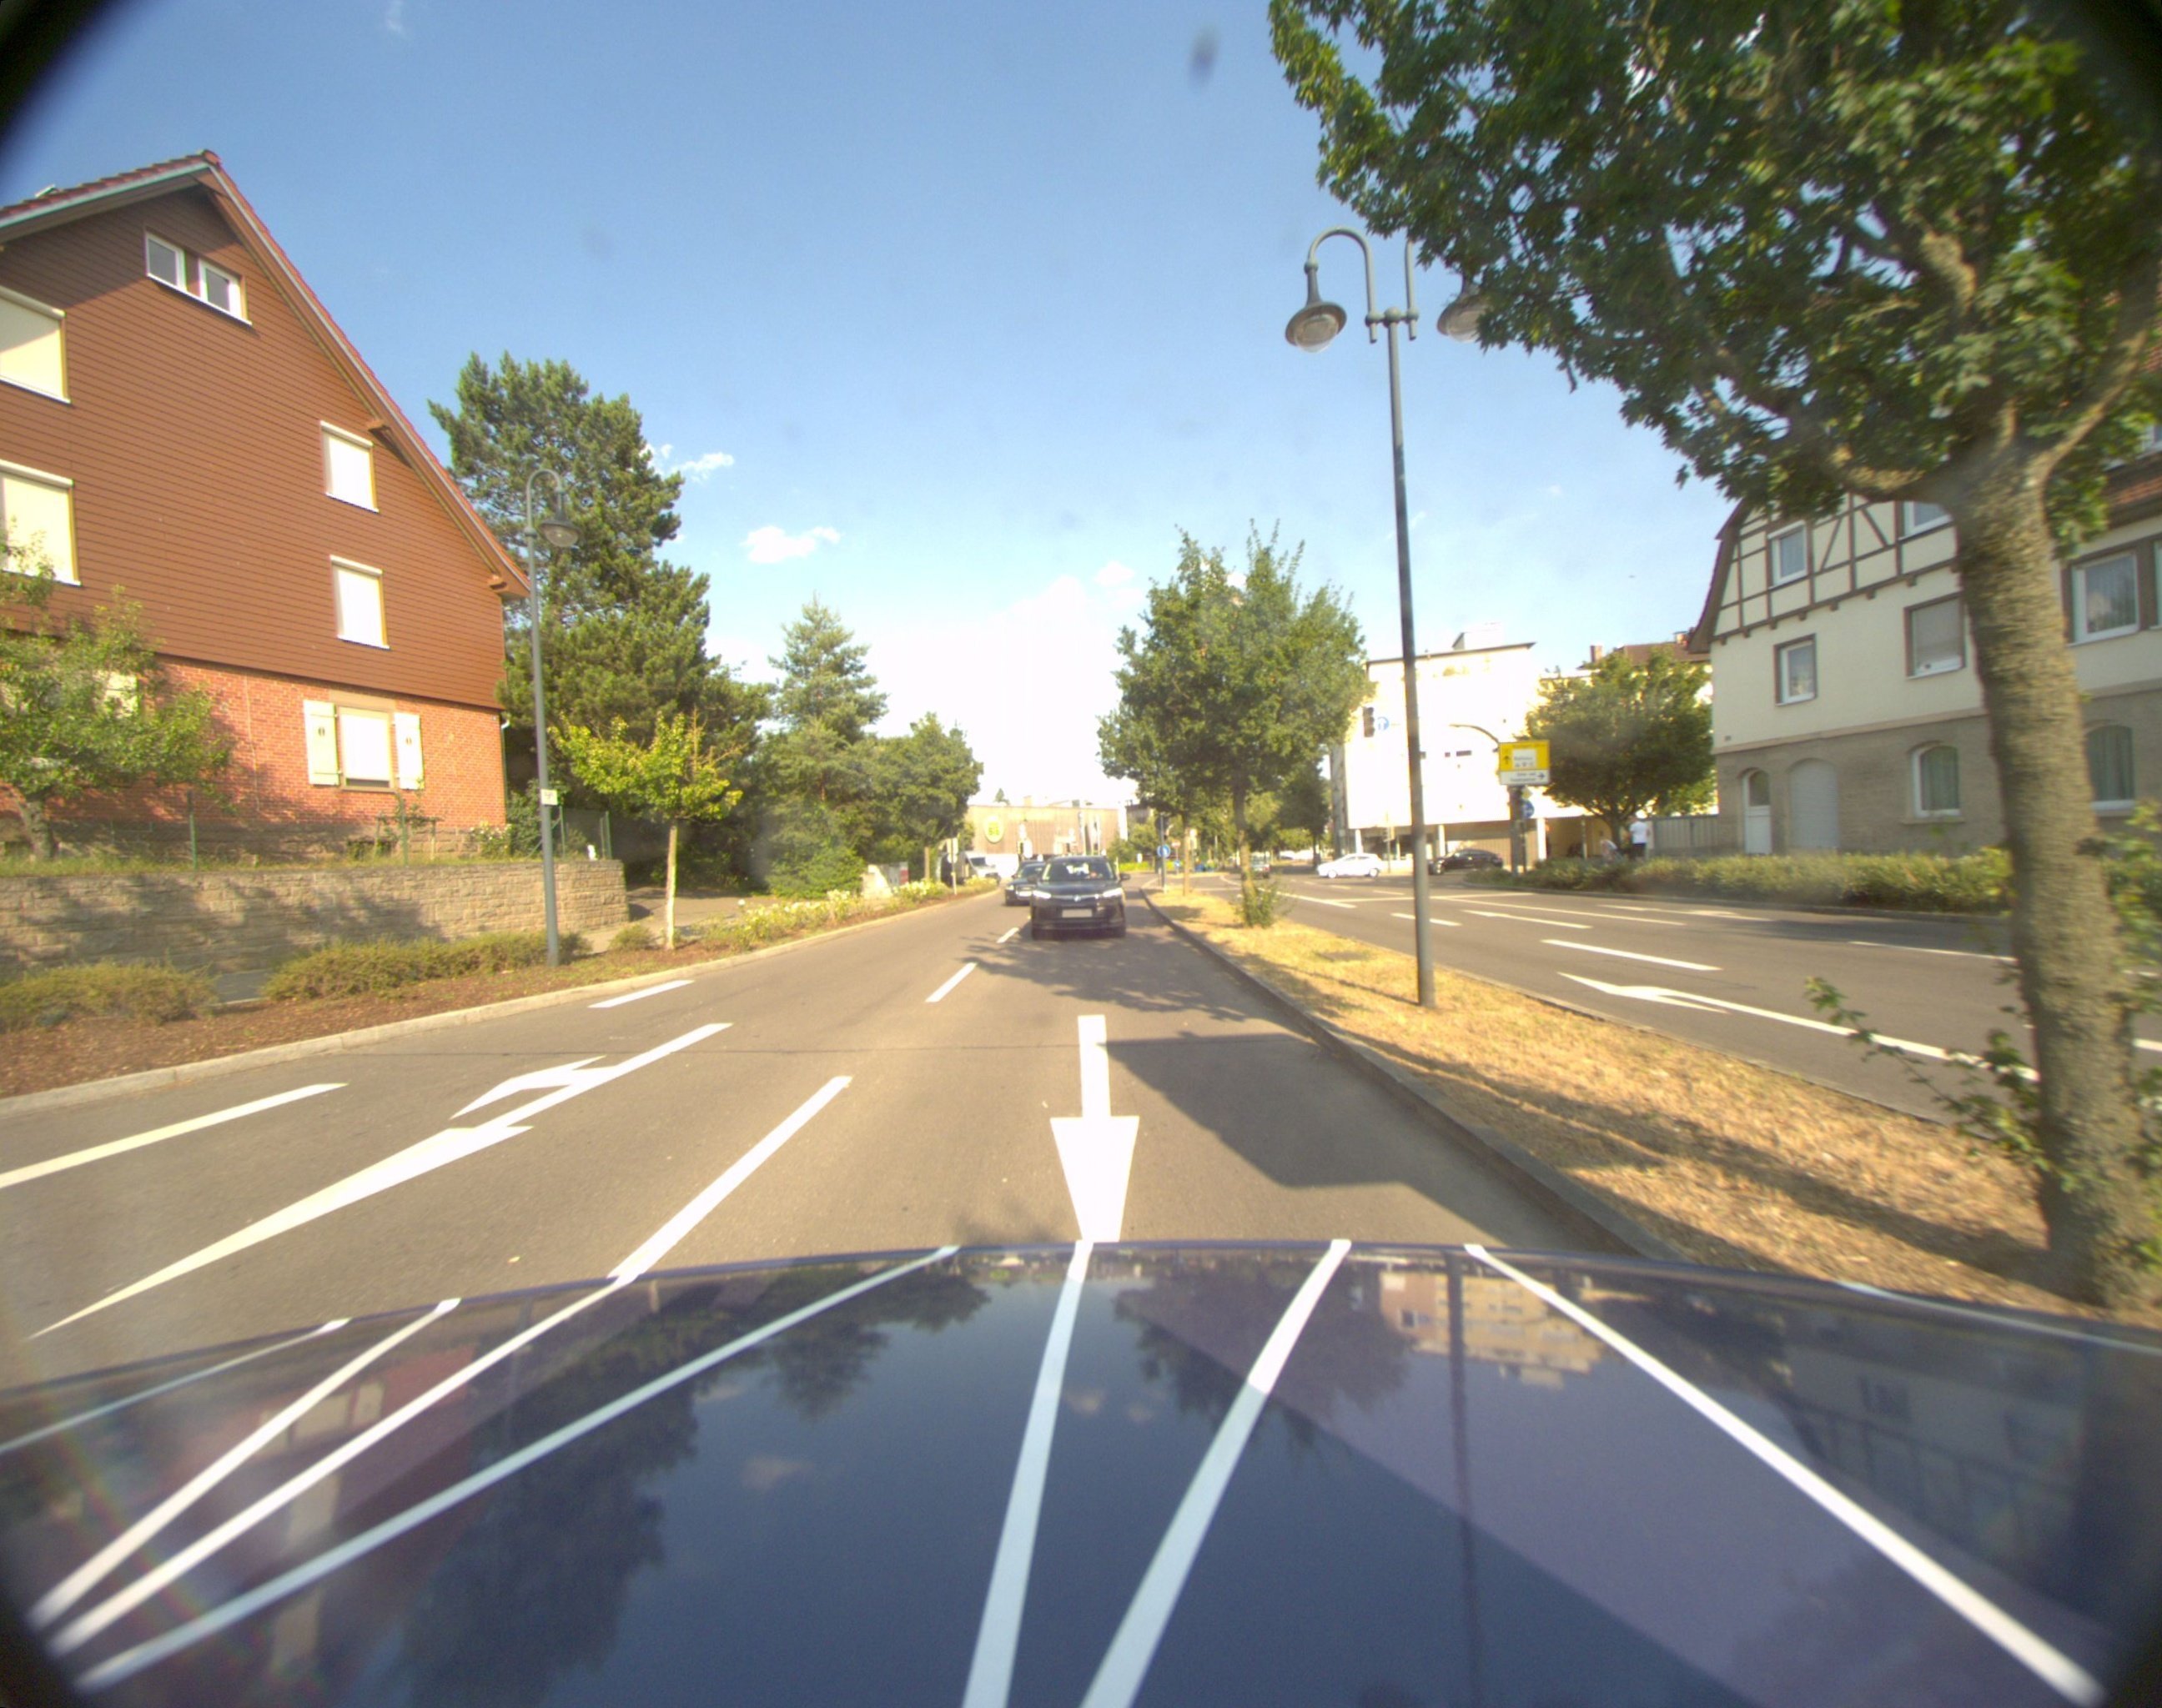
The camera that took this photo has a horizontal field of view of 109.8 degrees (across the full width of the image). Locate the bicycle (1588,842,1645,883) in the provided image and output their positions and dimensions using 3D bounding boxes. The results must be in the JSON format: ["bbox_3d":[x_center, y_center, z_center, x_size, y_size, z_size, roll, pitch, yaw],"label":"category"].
[{"bbox_3d":[16.489,0.249,23.436,0.681,1.215,1.514,-2,1,2],"label":"bicycle"}]

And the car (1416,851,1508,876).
[{"bbox_3d":[23.182,0.567,46.406,4.661,1.346,1.768,-2,1,8],"label":"car"}]

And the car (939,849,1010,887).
[{"bbox_3d":[-7.774,0.966,54.877,2.377,2.532,6.176,-2,1,-36],"label":"car"}]

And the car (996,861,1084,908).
[{"bbox_3d":[-1.369,1.061,27.624,1.683,1.427,4.595,-2,0,17],"label":"car"}]

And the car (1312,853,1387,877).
[{"bbox_3d":[16.774,0.693,47.596,4.126,1.346,1.768,-2,1,6],"label":"car"}]

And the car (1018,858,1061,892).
[{"bbox_3d":[-2.102,1.039,39.187,1.886,1.599,4.127,-2,0,1],"label":"car"}]

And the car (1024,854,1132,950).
[{"bbox_3d":[-0.024,0.873,16.071,1.894,1.647,4.729,-2,0,1],"label":"car"}]

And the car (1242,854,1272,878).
[{"bbox_3d":[11.449,0.751,49.541,1.764,1.346,4.165,-2,0,11],"label":"car"}]

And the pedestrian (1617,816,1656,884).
[{"bbox_3d":[16.447,-0.115,22.511,0.699,1.971,0.588,-2,1,1],"label":"pedestrian"}]
